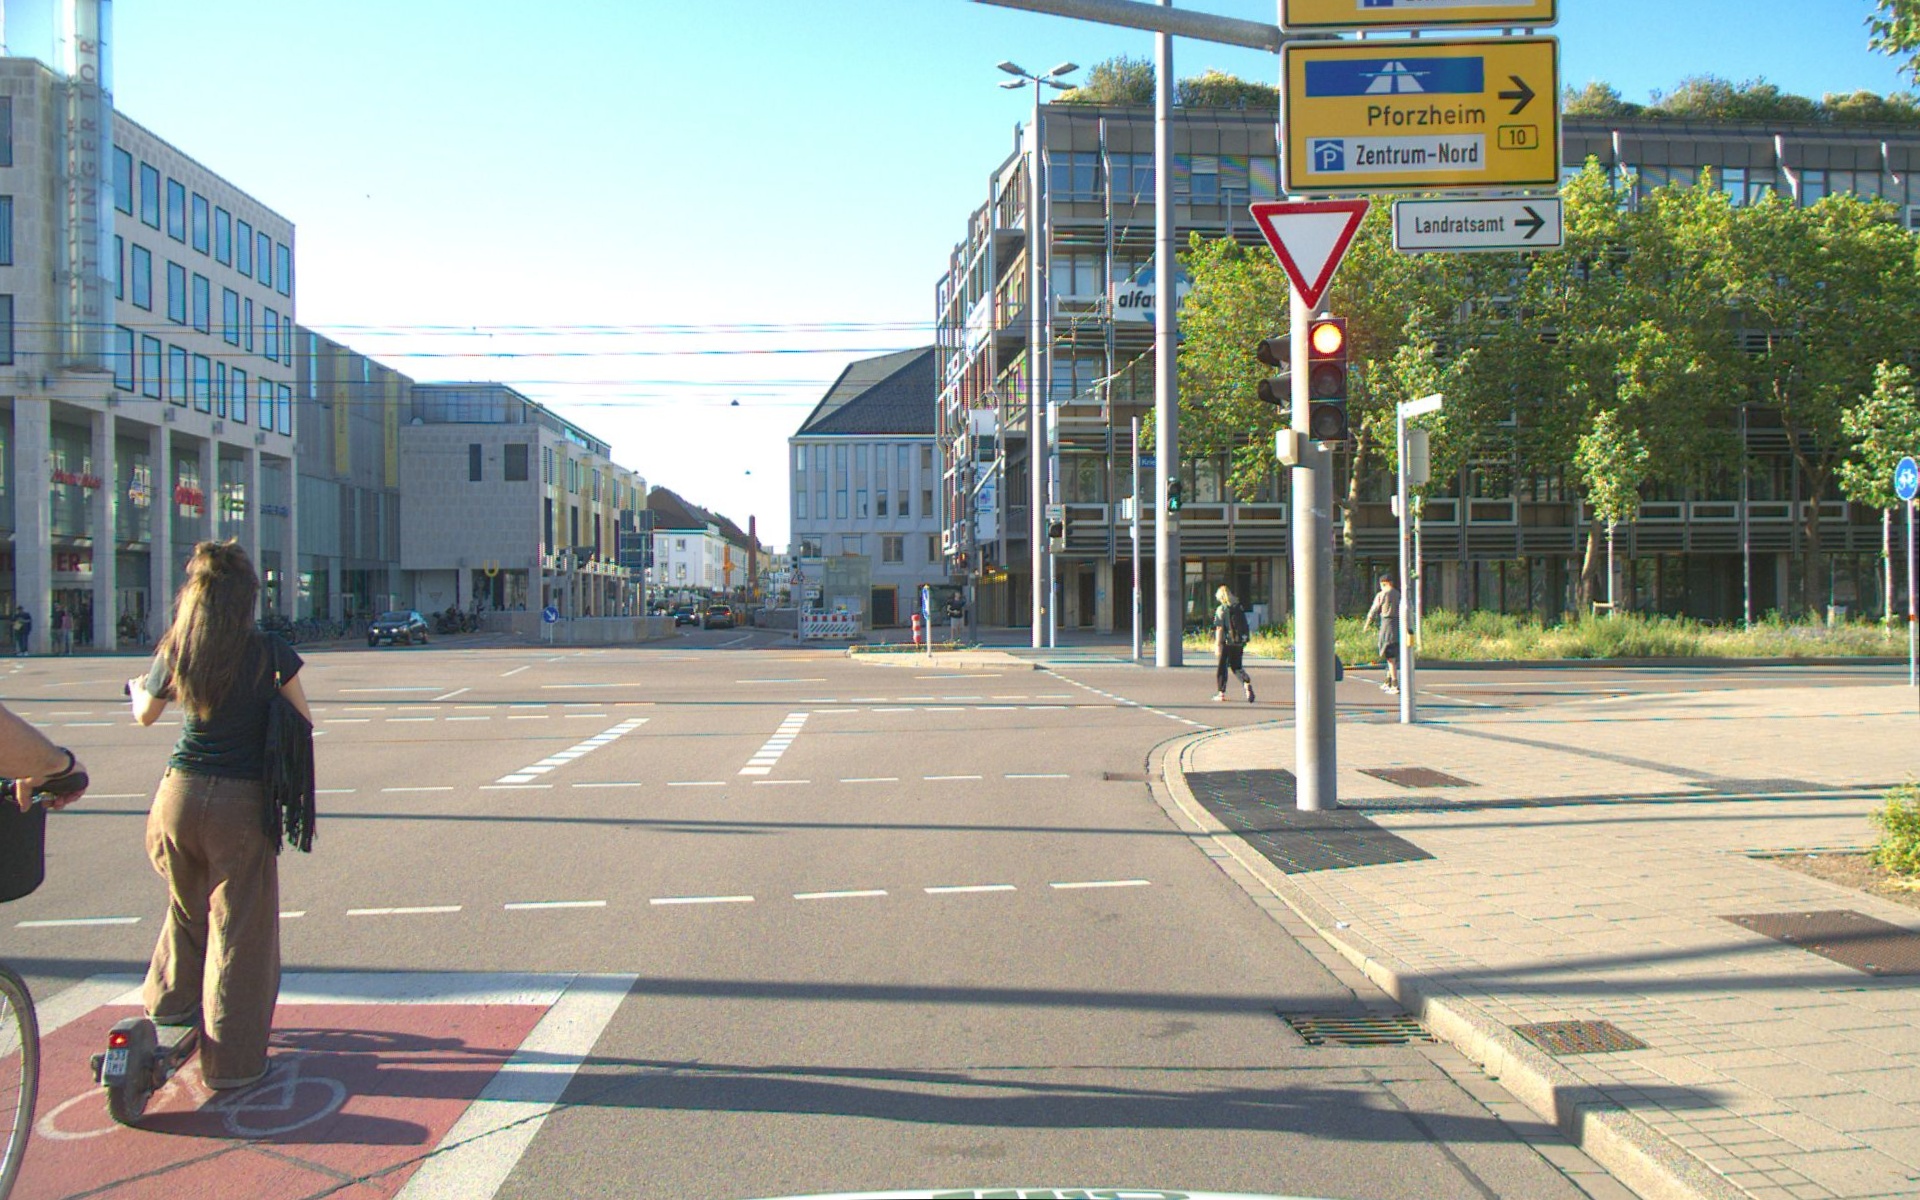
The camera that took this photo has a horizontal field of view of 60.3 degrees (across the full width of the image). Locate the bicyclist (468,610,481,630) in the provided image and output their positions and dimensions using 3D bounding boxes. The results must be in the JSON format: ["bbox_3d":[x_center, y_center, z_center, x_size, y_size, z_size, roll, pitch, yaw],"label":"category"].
[{"bbox_3d":[-28.124,1.166,95.856,0.617,1.103,0.506,1,0,-34],"label":"bicyclist"}]

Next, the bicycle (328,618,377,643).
[{"bbox_3d":[-30.940,1.534,84.252,2.260,1.244,0.611,0,0,-3],"label":"bicycle"}]

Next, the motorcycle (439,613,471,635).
[{"bbox_3d":[-29.775,1.405,97.461,1.775,1.228,0.509,1,0,-16],"label":"motorcycle"}]

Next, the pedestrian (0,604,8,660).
[{"bbox_3d":[-33.220,1.081,56.932,0.706,1.918,0.780,1,-1,-28],"label":"pedestrian"}]

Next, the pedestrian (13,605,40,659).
[{"bbox_3d":[-32.873,1.124,58.248,0.787,1.876,0.856,0,0,-29],"label":"pedestrian"}]

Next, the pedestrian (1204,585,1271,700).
[{"bbox_3d":[3.737,0.571,22.317,0.772,1.518,0.644,1,-1,-1],"label":"pedestrian"}]

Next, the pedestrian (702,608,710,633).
[{"bbox_3d":[-17.920,1.458,116.763,0.511,1.709,0.582,1,0,-8],"label":"pedestrian"}]

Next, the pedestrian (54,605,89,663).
[{"bbox_3d":[-31.768,1.210,59.169,0.868,2.049,0.771,1,-1,-12],"label":"pedestrian"}]

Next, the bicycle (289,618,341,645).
[{"bbox_3d":[-30.727,1.509,78.803,2.260,1.244,0.611,0,0,-3],"label":"bicycle"}]

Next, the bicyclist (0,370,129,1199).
[{"bbox_3d":[-1.984,0.475,2.840,0.647,1.750,0.865,1,-1,-1],"label":"bicyclist"}]

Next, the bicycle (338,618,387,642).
[{"bbox_3d":[-30.829,1.541,85.323,2.260,1.244,0.611,0,0,-3],"label":"bicycle"}]

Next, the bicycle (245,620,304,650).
[{"bbox_3d":[-29.303,1.493,70.741,2.260,1.244,0.611,0,0,-3],"label":"bicycle"}]

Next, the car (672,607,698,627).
[{"bbox_3d":[-23.241,1.416,139.992,1.762,1.686,3.996,1,0,-5],"label":"car"}]

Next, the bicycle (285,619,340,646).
[{"bbox_3d":[-30.077,1.511,76.833,2.260,1.244,0.611,0,0,-3],"label":"bicycle"}]

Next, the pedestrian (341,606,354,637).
[{"bbox_3d":[-34.075,1.202,91.995,0.544,1.709,0.606,1,0,-11],"label":"pedestrian"}]

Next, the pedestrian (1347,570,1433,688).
[{"bbox_3d":[6.352,0.427,24.466,0.864,1.694,0.960,1,-1,-16],"label":"pedestrian"}]

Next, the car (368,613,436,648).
[{"bbox_3d":[-23.390,1.264,69.470,1.597,1.365,3.998,-3,0,-3],"label":"car"}]

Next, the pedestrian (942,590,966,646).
[{"bbox_3d":[-0.214,0.634,57.285,0.772,1.923,0.644,1,-1,-1],"label":"pedestrian"}]

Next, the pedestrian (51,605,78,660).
[{"bbox_3d":[-31.182,1.116,57.589,0.788,1.876,0.854,0,0,-33],"label":"pedestrian"}]

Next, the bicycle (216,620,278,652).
[{"bbox_3d":[-29.345,1.479,68.101,2.260,1.244,0.611,0,0,-3],"label":"bicycle"}]

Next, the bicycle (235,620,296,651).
[{"bbox_3d":[-29.138,1.489,69.387,2.260,1.244,0.611,0,0,-3],"label":"bicycle"}]

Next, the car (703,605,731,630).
[{"bbox_3d":[-15.840,1.148,107.932,1.705,1.558,3.849,1,0,-8],"label":"car"}]

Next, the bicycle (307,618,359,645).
[{"bbox_3d":[-30.347,1.522,80.036,2.260,1.244,0.611,0,0,-3],"label":"bicycle"}]

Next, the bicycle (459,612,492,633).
[{"bbox_3d":[-28.079,1.292,95.891,1.788,1.228,0.506,1,0,-34],"label":"bicycle"}]

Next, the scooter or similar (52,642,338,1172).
[{"bbox_3d":[-2.184,0.797,4.848,0.538,1.316,1.189,1,0,-15],"label":"scooter or similar"}]

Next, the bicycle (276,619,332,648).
[{"bbox_3d":[-29.616,1.508,74.683,2.260,1.244,0.611,0,0,-3],"label":"bicycle"}]

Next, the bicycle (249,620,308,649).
[{"bbox_3d":[-29.516,1.494,71.618,2.260,1.244,0.611,0,0,-3],"label":"bicycle"}]

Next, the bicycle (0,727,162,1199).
[{"bbox_3d":[-2.088,0.879,2.915,0.475,1.176,1.831,1,0,-1],"label":"bicycle"}]

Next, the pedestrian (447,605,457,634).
[{"bbox_3d":[-30.112,1.151,98.063,0.512,1.709,0.581,1,0,-14],"label":"pedestrian"}]

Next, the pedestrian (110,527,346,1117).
[{"bbox_3d":[-2.194,0.629,5.016,0.540,1.661,0.569,1,-1,-16],"label":"pedestrian"}]
